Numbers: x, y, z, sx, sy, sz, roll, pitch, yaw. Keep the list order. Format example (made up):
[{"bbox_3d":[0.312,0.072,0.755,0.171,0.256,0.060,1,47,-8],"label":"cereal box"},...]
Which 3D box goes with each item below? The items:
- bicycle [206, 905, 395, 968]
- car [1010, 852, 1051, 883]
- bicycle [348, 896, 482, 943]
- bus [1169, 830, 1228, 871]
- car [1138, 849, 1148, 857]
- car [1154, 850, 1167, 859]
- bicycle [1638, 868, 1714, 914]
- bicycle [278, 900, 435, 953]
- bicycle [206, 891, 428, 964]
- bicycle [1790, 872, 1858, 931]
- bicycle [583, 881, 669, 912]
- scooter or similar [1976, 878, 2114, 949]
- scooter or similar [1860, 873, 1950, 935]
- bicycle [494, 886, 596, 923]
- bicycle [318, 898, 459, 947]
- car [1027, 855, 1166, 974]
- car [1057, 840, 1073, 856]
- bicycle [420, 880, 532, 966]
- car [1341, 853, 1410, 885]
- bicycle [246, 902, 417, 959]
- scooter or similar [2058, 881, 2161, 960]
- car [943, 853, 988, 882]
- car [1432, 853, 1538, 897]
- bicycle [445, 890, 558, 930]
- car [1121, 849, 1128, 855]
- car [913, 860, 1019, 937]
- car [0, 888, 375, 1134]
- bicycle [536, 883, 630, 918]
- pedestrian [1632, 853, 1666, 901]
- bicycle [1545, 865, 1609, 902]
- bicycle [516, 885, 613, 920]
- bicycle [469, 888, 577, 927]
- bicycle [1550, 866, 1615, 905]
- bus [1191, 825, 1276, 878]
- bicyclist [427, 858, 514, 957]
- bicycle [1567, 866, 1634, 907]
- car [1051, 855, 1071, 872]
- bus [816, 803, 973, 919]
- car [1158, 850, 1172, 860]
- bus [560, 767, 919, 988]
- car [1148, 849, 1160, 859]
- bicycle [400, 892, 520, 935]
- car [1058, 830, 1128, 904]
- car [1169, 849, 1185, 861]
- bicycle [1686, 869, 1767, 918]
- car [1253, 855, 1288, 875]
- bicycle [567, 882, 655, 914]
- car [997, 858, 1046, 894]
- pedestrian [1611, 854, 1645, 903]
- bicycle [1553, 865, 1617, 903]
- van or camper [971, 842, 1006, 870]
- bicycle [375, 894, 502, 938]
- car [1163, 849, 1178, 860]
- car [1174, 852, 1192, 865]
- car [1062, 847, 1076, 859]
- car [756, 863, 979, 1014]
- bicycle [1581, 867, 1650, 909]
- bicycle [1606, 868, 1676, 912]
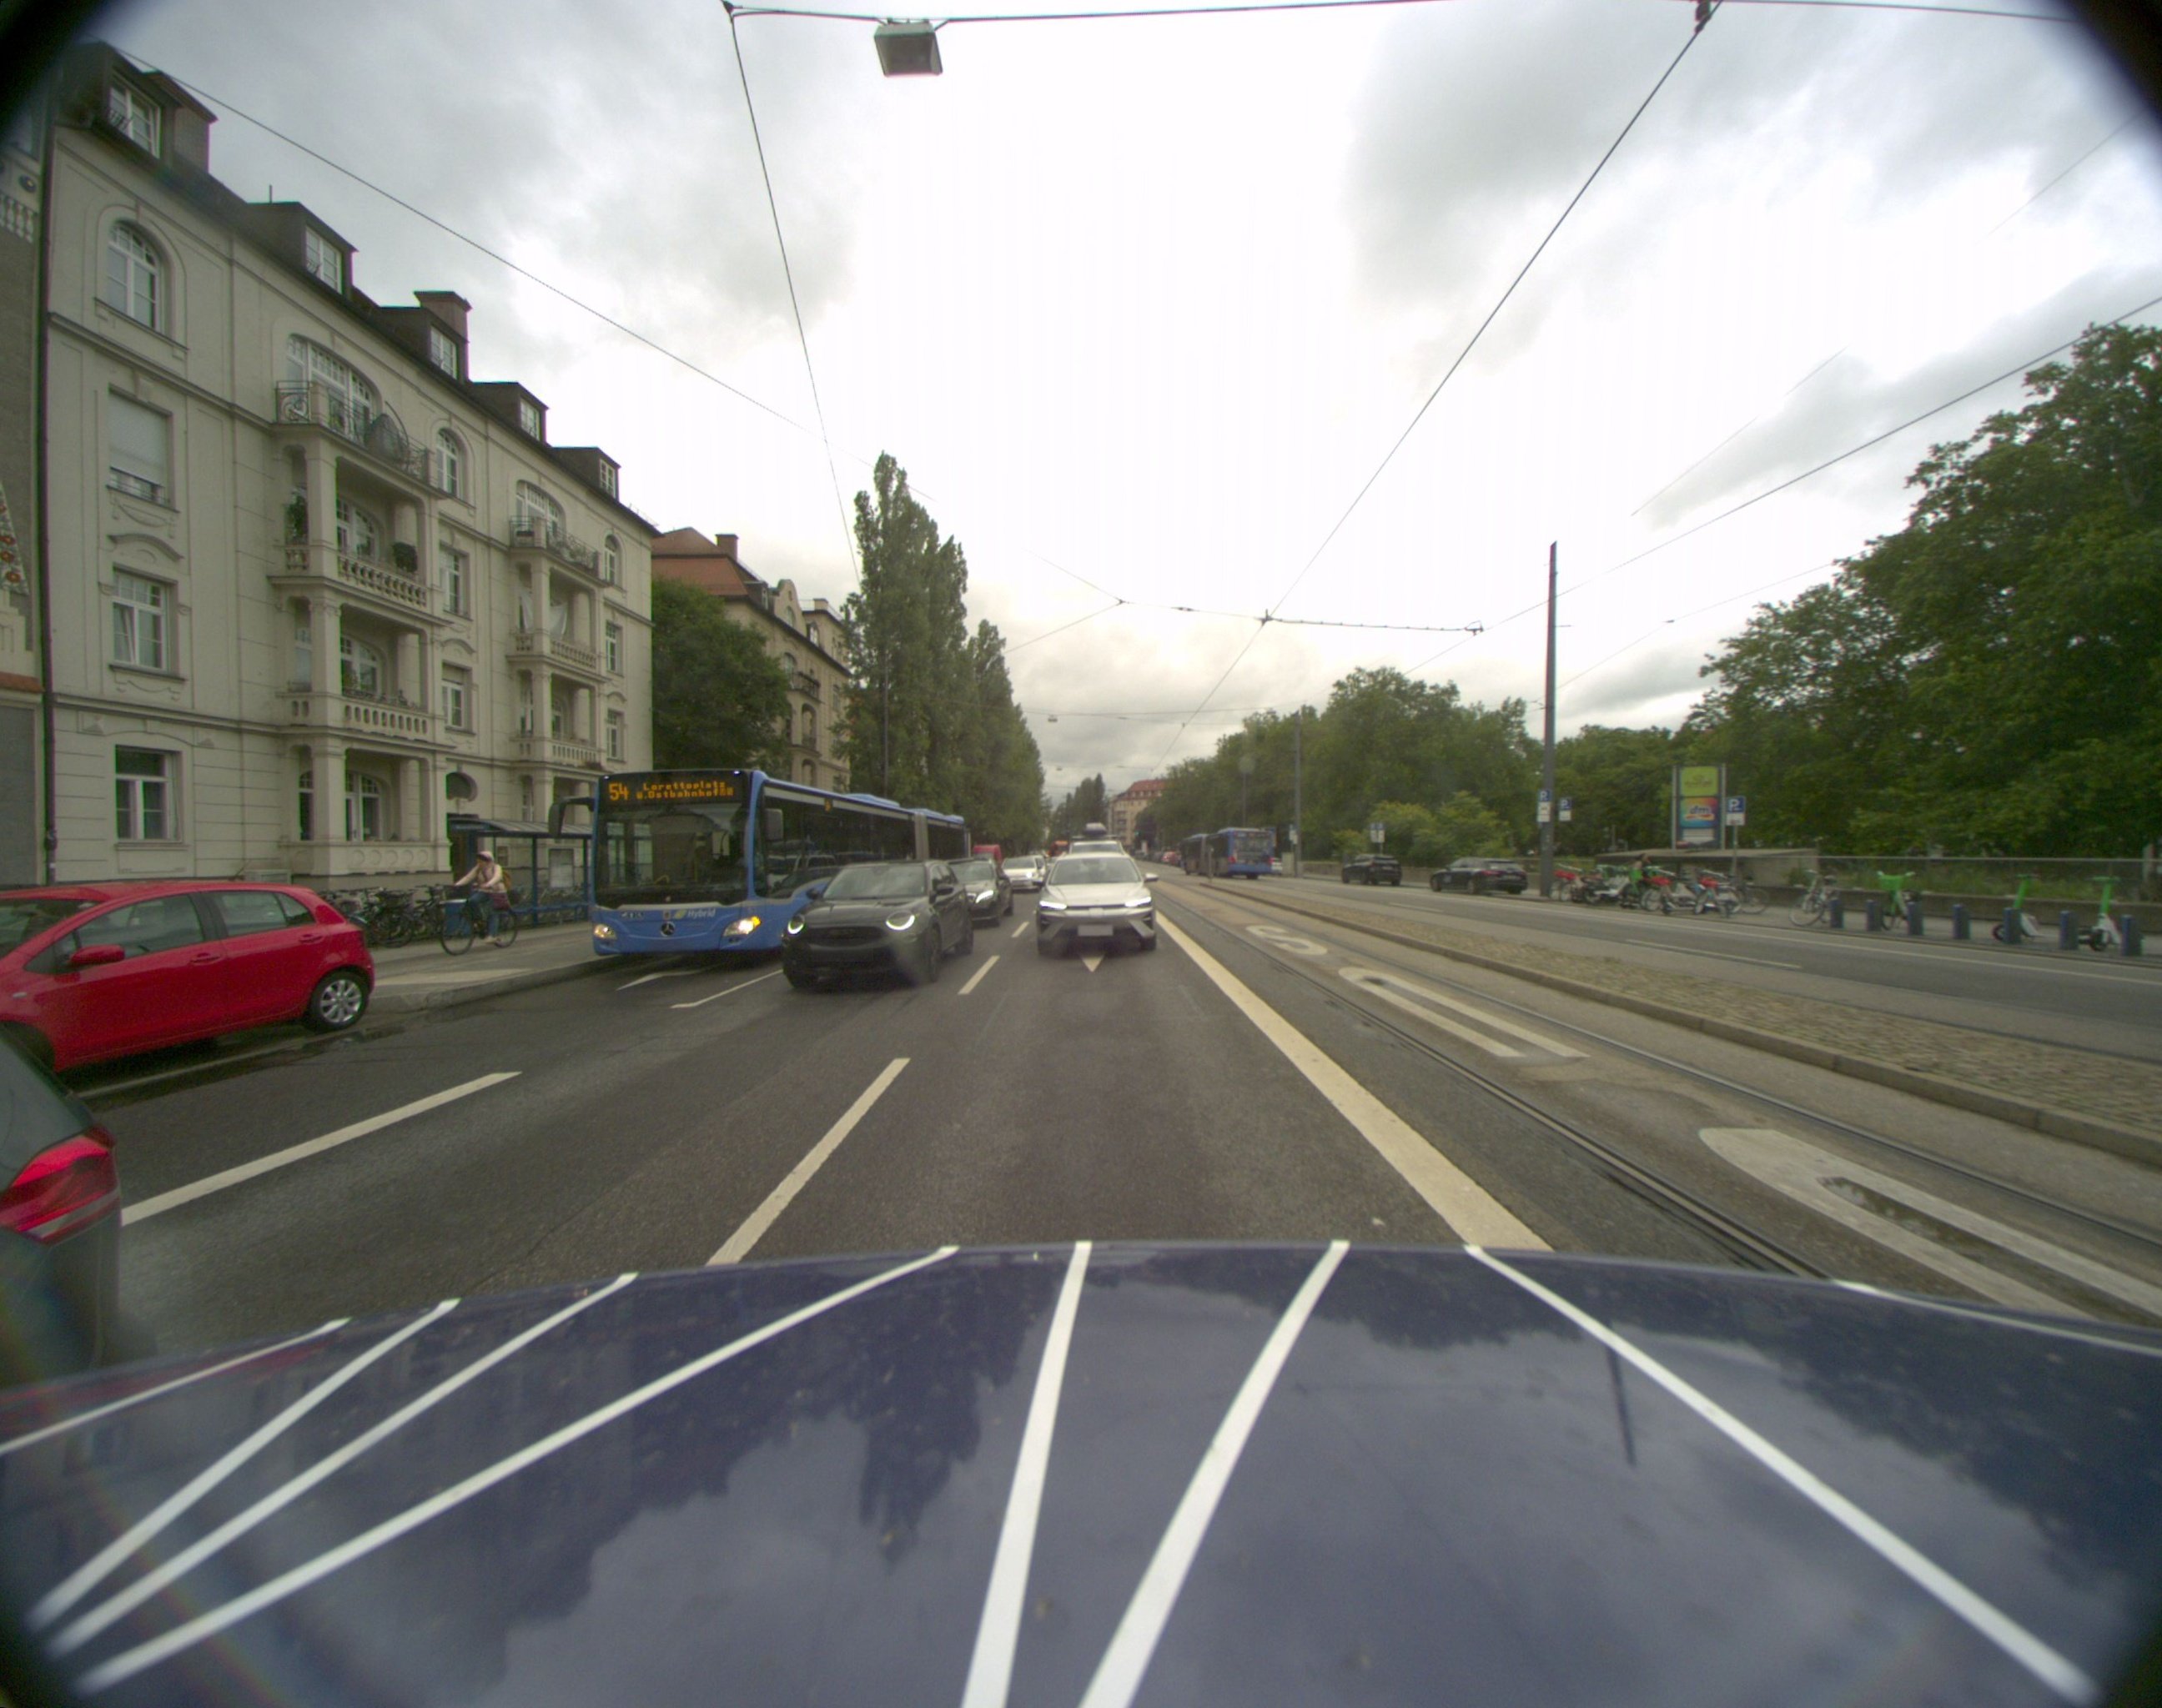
[{"bbox_3d":[-13.822,1.442,13.538,2.326,0.916,0.586,-2,1,-16],"label":"bicycle"},{"bbox_3d":[-2.423,0.629,36.980,1.704,1.379,3.632,1,0,0],"label":"car"},{"bbox_3d":[-14.800,1.444,16.915,2.323,0.916,0.640,-2,1,-2],"label":"bicycle"},{"bbox_3d":[9.471,-0.328,62.762,2.632,2.950,12.843,1,1,-1],"label":"bus"},{"bbox_3d":[13.082,-0.211,160.445,1.809,1.674,4.000,0,1,1],"label":"car"},{"bbox_3d":[13.795,0.062,132.166,1.809,1.674,4.000,0,1,1],"label":"car"},{"bbox_3d":[15.709,0.970,20.066,1.693,1.165,0.561,0,1,-9],"label":"bicycle"},{"bbox_3d":[-14.713,1.456,15.492,2.325,0.916,0.586,-2,1,-11],"label":"bicycle"},{"bbox_3d":[-14.128,1.335,14.154,2.923,1.142,0.639,-2,1,-17],"label":"bicycle"},{"bbox_3d":[15.997,0.998,16.360,1.696,1.165,0.560,-1,1,-29],"label":"bicycle"},{"bbox_3d":[-14.639,1.359,24.468,2.323,0.916,0.600,-2,1,-2],"label":"bicycle"},{"bbox_3d":[16.581,1.010,13.090,1.692,1.165,0.562,0,1,-2],"label":"scooter or similar"},{"bbox_3d":[16.562,0.987,15.270,1.695,1.165,0.561,0,1,-18],"label":"scooter or similar"},{"bbox_3d":[-14.880,1.402,21.132,2.323,0.916,0.600,-2,1,-2],"label":"bicycle"},{"bbox_3d":[-14.744,1.449,16.206,2.323,0.916,0.640,-2,1,-2],"label":"bicycle"},{"bbox_3d":[0.270,0.811,12.602,1.812,1.496,4.952,-2,1,2],"label":"car"},{"bbox_3d":[-2.899,-1.062,140.970,2.806,2.836,5.114,0,1,1],"label":"car"},{"bbox_3d":[-10.266,1.127,12.981,0.424,1.281,1.778,0,1,2],"label":"bicycle"},{"bbox_3d":[15.176,0.733,39.364,1.998,1.561,4.101,0,1,1],"label":"car"},{"bbox_3d":[-14.482,1.455,14.747,2.326,0.916,0.586,-2,1,-16],"label":"bicycle"},{"bbox_3d":[16.509,1.026,11.907,1.692,1.165,0.562,0,1,-2],"label":"scooter or similar"},{"bbox_3d":[-5.759,0.640,38.296,1.704,1.361,3.632,0,1,0],"label":"car"},{"bbox_3d":[15.405,0.760,29.237,1.864,1.517,4.232,0,1,1],"label":"car"},{"bbox_3d":[-14.765,1.416,19.405,2.323,0.916,0.640,-2,1,-2],"label":"bicycle"},{"bbox_3d":[11.646,-0.602,203.495,1.628,1.474,3.602,0,1,1],"label":"car"},{"bbox_3d":[-2.531,0.929,17.715,1.704,1.425,4.244,-3,1,1],"label":"car"},{"bbox_3d":[-8.138,1.123,5.944,1.730,1.500,3.742,0,1,0],"label":"car"},{"bbox_3d":[-14.851,1.384,22.692,2.323,0.916,0.600,-2,1,-2],"label":"bicycle"},{"bbox_3d":[18.383,0.736,24.589,0.632,1.549,0.589,0,1,0],"label":"pedestrian"},{"bbox_3d":[15.818,0.932,24.264,1.692,1.165,0.562,0,1,-2],"label":"bicycle"},{"bbox_3d":[-14.912,1.394,21.967,2.323,0.916,0.600,-2,1,-2],"label":"bicycle"},{"bbox_3d":[-14.873,1.411,20.280,2.323,0.916,0.640,-2,1,-2],"label":"bicycle"},{"bbox_3d":[15.246,0.955,23.107,1.693,1.165,0.505,0,1,-6],"label":"bicycle"},{"bbox_3d":[9.605,-0.191,49.640,2.632,2.950,13.413,1,1,-1],"label":"bus"},{"bbox_3d":[-10.284,0.877,12.837,0.681,1.594,0.939,0,1,1],"label":"bicyclist"},{"bbox_3d":[15.317,0.960,22.410,1.693,1.165,0.505,0,1,-7],"label":"bicycle"},{"bbox_3d":[-1.803,0.853,70.040,1.704,1.513,3.632,1,0,0],"label":"car"},{"bbox_3d":[-5.511,0.153,24.227,2.637,2.957,8.533,-2,1,1],"label":"bus"},{"bbox_3d":[13.823,0.137,124.908,1.809,1.674,4.000,0,1,1],"label":"car"},{"bbox_3d":[-5.711,0.297,15.210,2.637,2.957,9.465,-2,0,1],"label":"bus"},{"bbox_3d":[13.459,-0.016,140.618,1.809,1.674,4.000,0,1,1],"label":"car"},{"bbox_3d":[-15.082,1.438,18.487,2.323,0.916,0.640,-2,1,-2],"label":"bicycle"},{"bbox_3d":[0.370,0.358,23.693,1.998,2.100,4.000,0,1,1],"label":"car"},{"bbox_3d":[13.384,0.169,106.327,1.809,1.674,4.000,0,1,1],"label":"car"},{"bbox_3d":[16.051,0.969,18.897,1.693,1.165,0.561,0,1,-9],"label":"bicycle"},{"bbox_3d":[15.036,0.844,60.443,1.893,1.521,4.000,0,1,1],"label":"car"},{"bbox_3d":[-14.673,1.368,23.748,2.323,0.916,0.600,-2,1,-2],"label":"bicycle"},{"bbox_3d":[-2.409,0.860,31.302,1.704,1.360,3.632,1,0,0],"label":"car"},{"bbox_3d":[17.619,0.770,24.466,0.632,1.549,0.589,0,1,0],"label":"pedestrian"},{"bbox_3d":[15.716,0.930,23.717,1.693,1.165,0.505,0,1,-3],"label":"bicycle"},{"bbox_3d":[-7.263,0.120,60.061,2.124,2.087,5.513,0,1,0],"label":"van or camper"},{"bbox_3d":[-14.990,1.442,17.766,2.323,0.916,0.640,-2,1,-2],"label":"bicycle"},{"bbox_3d":[13.742,0.080,116.956,1.809,1.674,4.000,0,1,1],"label":"car"},{"bbox_3d":[12.974,0.511,97.064,1.809,1.633,4.000,0,1,1],"label":"car"},{"bbox_3d":[-1.488,-0.132,96.219,1.704,1.513,3.632,0,1,0],"label":"car"},{"bbox_3d":[-2.601,0.948,10.297,1.780,1.495,3.970,-3,1,1],"label":"car"},{"bbox_3d":[15.343,0.965,21.824,1.693,1.165,0.561,0,1,-9],"label":"bicycle"},{"bbox_3d":[15.389,0.973,20.892,1.693,1.165,0.505,0,1,-9],"label":"bicycle"}]
